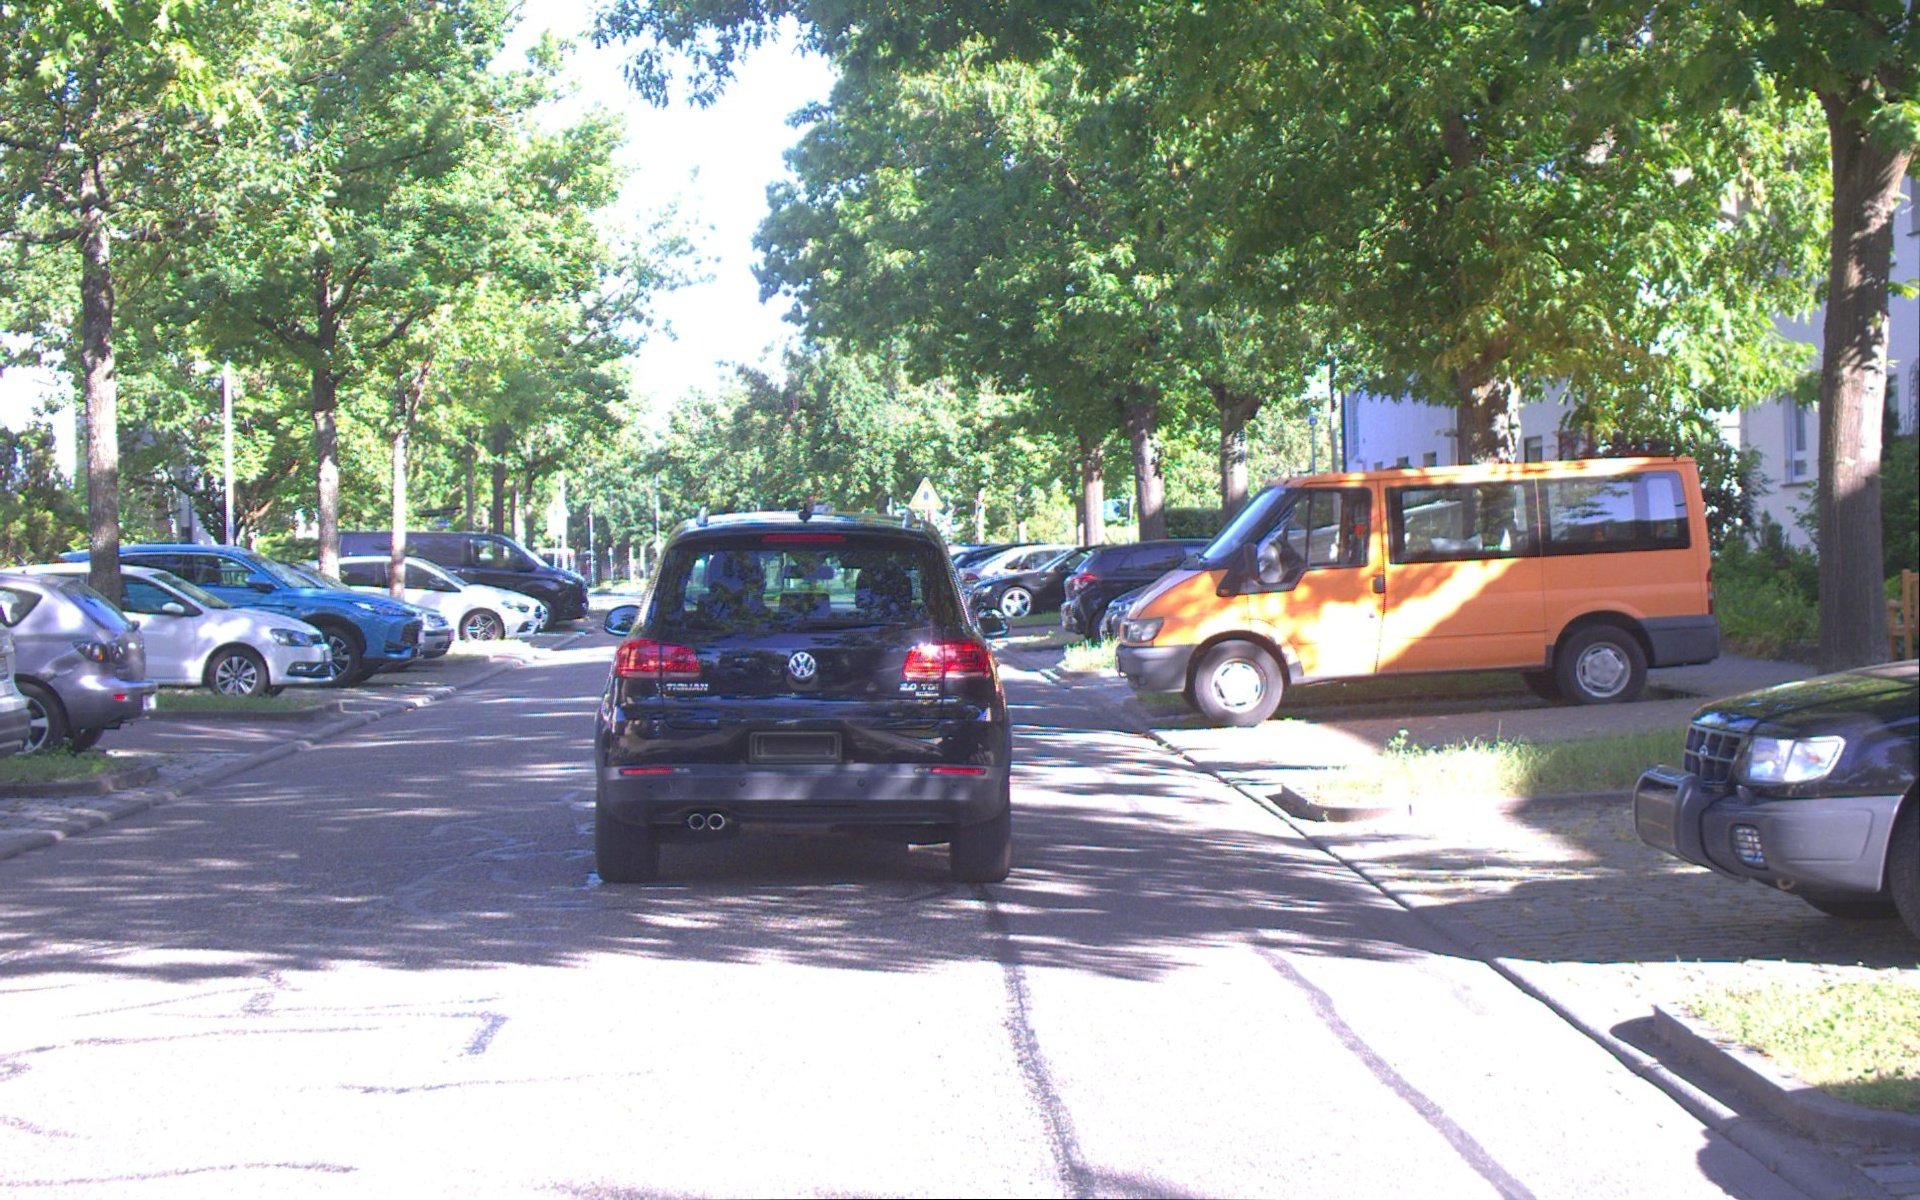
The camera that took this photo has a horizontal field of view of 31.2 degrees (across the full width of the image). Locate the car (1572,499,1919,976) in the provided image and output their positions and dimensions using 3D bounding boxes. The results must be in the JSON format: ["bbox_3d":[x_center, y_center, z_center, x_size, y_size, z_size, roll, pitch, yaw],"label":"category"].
[{"bbox_3d":[4.593,0.366,12.427,4.337,1.555,1.868,-2,1,-2],"label":"car"}]

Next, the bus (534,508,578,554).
[{"bbox_3d":[-27.993,-4.775,238.404,2.928,2.993,5.738,-1,0,-7],"label":"bus"}]

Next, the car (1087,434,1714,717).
[{"bbox_3d":[3.562,-0.220,28.466,4.818,2.076,2.086,-2,1,-1],"label":"car"}]

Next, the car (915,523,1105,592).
[{"bbox_3d":[1.186,-1.028,82.736,4.428,1.486,1.797,-2,1,-2],"label":"car"}]

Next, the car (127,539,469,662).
[{"bbox_3d":[-8.698,0.006,45.388,4.182,1.487,1.647,-1,0,-1],"label":"car"}]

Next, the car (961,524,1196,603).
[{"bbox_3d":[2.258,-0.709,66.302,4.345,1.358,1.874,-2,0,-3],"label":"car"}]

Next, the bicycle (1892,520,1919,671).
[{"bbox_3d":[9.188,-0.101,28.322,2.858,1.233,0.468,-3,1,-1],"label":"bicycle"}]

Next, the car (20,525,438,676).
[{"bbox_3d":[-8.575,0.002,40.636,4.523,1.625,1.937,-1,0,-1],"label":"car"}]

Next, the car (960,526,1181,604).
[{"bbox_3d":[2.199,-0.722,69.055,4.276,1.409,1.797,-2,1,-2],"label":"car"}]

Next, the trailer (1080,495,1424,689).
[{"bbox_3d":[2.791,-0.079,33.196,2.945,1.658,1.615,-3,0,-7],"label":"trailer"}]

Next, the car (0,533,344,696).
[{"bbox_3d":[-8.640,0.157,36.132,3.987,1.590,1.857,-1,0,-1],"label":"car"}]

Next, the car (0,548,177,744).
[{"bbox_3d":[-8.186,0.302,26.264,4.033,1.418,1.810,1,1,-3],"label":"car"}]

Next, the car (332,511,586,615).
[{"bbox_3d":[-9.821,-0.741,67.709,4.778,1.910,2.019,-1,1,-4],"label":"car"}]

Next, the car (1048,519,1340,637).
[{"bbox_3d":[3.215,-0.319,47.716,3.882,1.511,1.661,-1,1,-1],"label":"car"}]

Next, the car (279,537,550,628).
[{"bbox_3d":[-9.034,-0.294,57.146,4.275,1.473,1.769,0,1,-2],"label":"car"}]

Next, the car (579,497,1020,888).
[{"bbox_3d":[-0.667,0.361,16.409,1.838,1.631,3.958,0,1,0],"label":"car"}]

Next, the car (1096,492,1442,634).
[{"bbox_3d":[3.758,-0.447,42.220,3.986,1.618,1.757,-1,0,-3],"label":"car"}]

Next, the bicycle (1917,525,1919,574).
[{"bbox_3d":[9.273,-0.072,27.827,2.858,1.233,0.468,-3,0,-1],"label":"bicycle"}]

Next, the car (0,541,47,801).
[{"bbox_3d":[-7.882,0.412,20.902,4.187,1.561,1.792,0,1,0],"label":"car"}]
